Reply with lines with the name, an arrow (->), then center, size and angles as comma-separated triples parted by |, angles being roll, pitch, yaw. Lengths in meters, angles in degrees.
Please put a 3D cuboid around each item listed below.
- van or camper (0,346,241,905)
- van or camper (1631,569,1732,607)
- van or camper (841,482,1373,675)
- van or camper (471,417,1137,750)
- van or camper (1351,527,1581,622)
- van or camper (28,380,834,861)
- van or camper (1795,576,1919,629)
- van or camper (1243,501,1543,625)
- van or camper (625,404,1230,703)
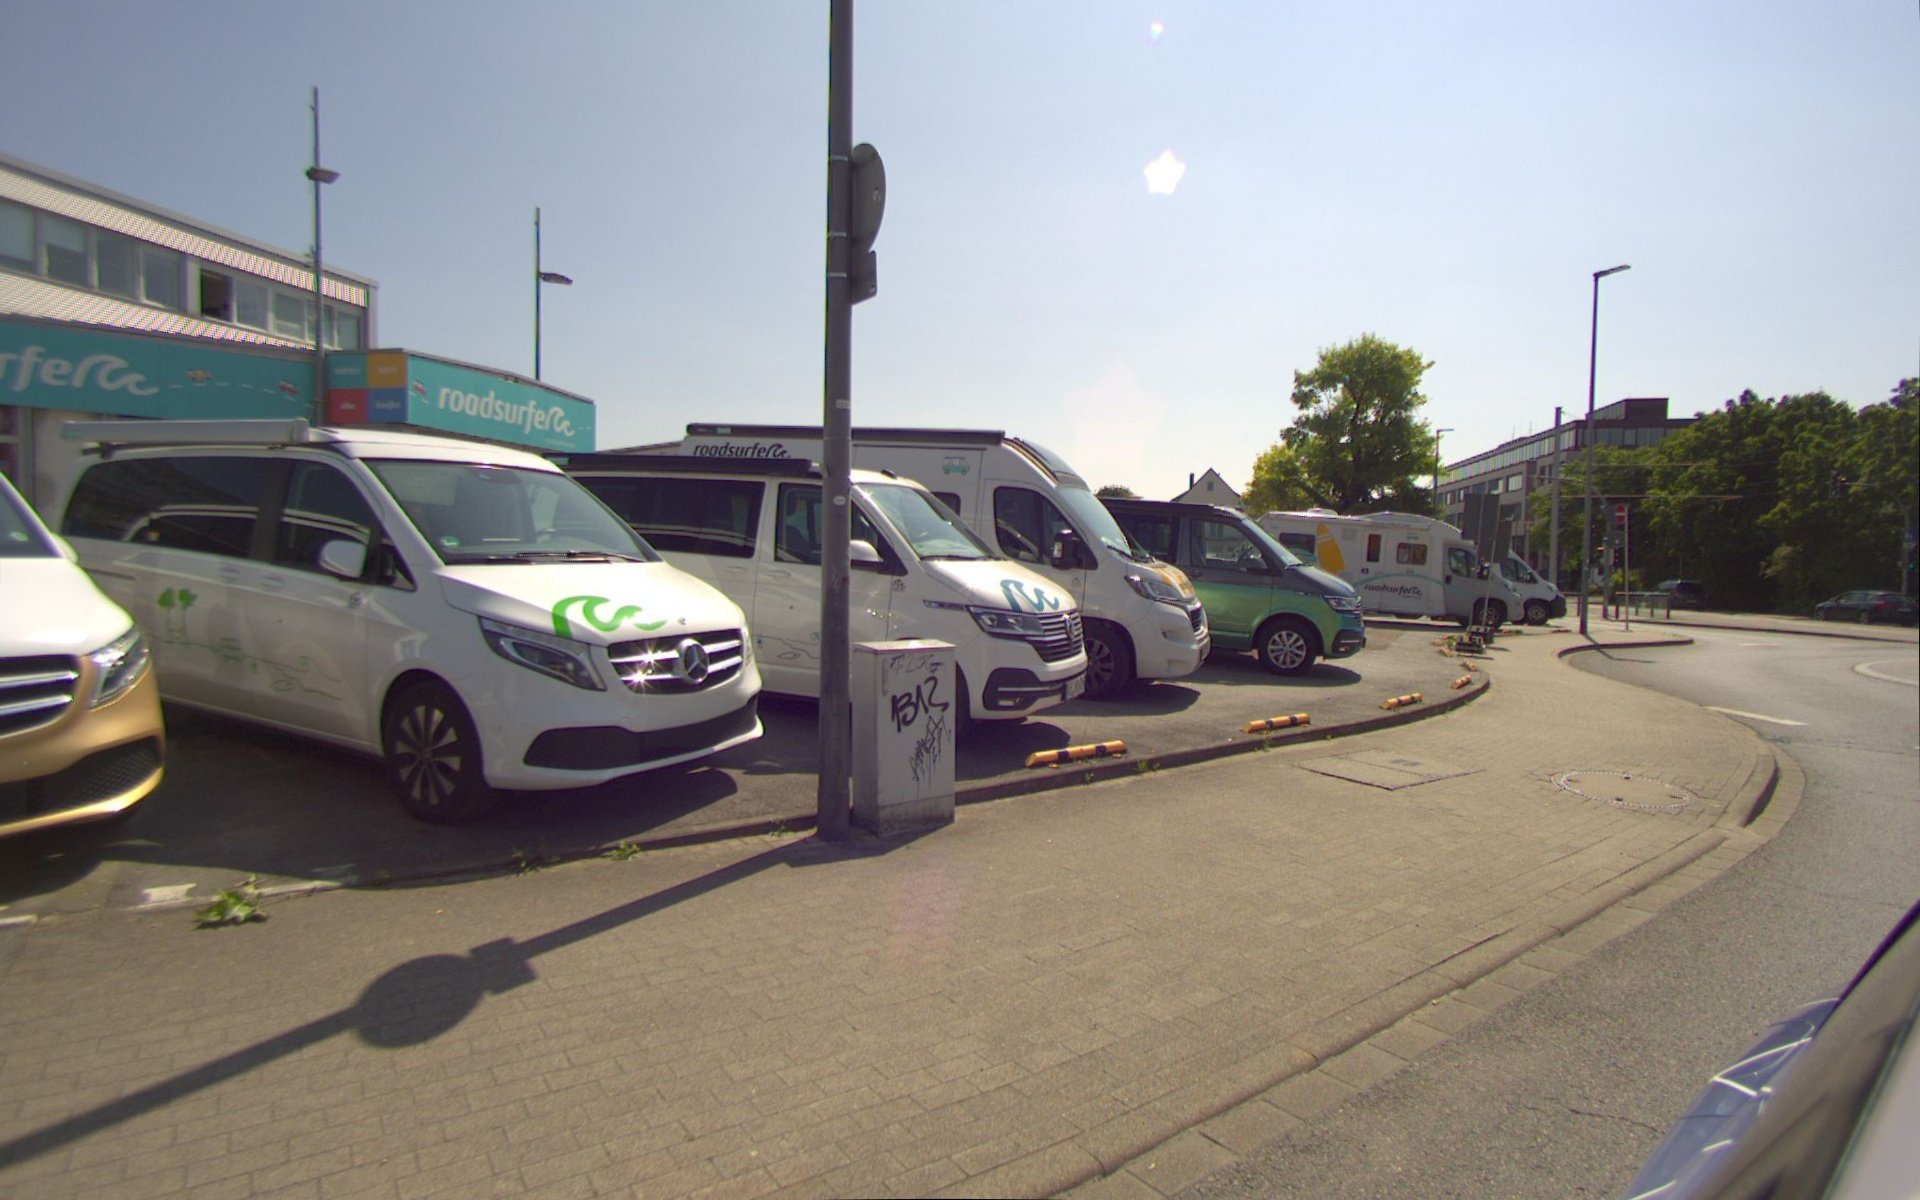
van or camper -> -5.745, -0.041, 4.559 | 5.087, 1.985, 1.969 | 4, 4, 27
van or camper -> 42.484, -0.780, 59.751 | 2.460, 2.038, 5.231 | 2, 2, 5
van or camper -> 2.006, -0.422, 13.973 | 6.772, 2.160, 2.765 | 3, 2, 23
van or camper -> -1.320, -0.242, 8.579 | 5.086, 2.101, 2.432 | 3, 2, 25
van or camper -> 15.697, -0.852, 31.897 | 5.978, 2.676, 2.771 | 2, 2, 18
van or camper -> -3.430, -0.069, 6.381 | 4.935, 2.070, 2.024 | 3, 3, 27
van or camper -> 39.054, 0.058, 43.343 | 2.460, 2.038, 5.231 | 2, 2, 5
van or camper -> 11.155, -1.016, 26.801 | 6.744, 2.920, 2.776 | 2, 2, 12
van or camper -> -0.366, -0.578, 11.352 | 6.288, 2.669, 2.516 | 3, 2, 21
